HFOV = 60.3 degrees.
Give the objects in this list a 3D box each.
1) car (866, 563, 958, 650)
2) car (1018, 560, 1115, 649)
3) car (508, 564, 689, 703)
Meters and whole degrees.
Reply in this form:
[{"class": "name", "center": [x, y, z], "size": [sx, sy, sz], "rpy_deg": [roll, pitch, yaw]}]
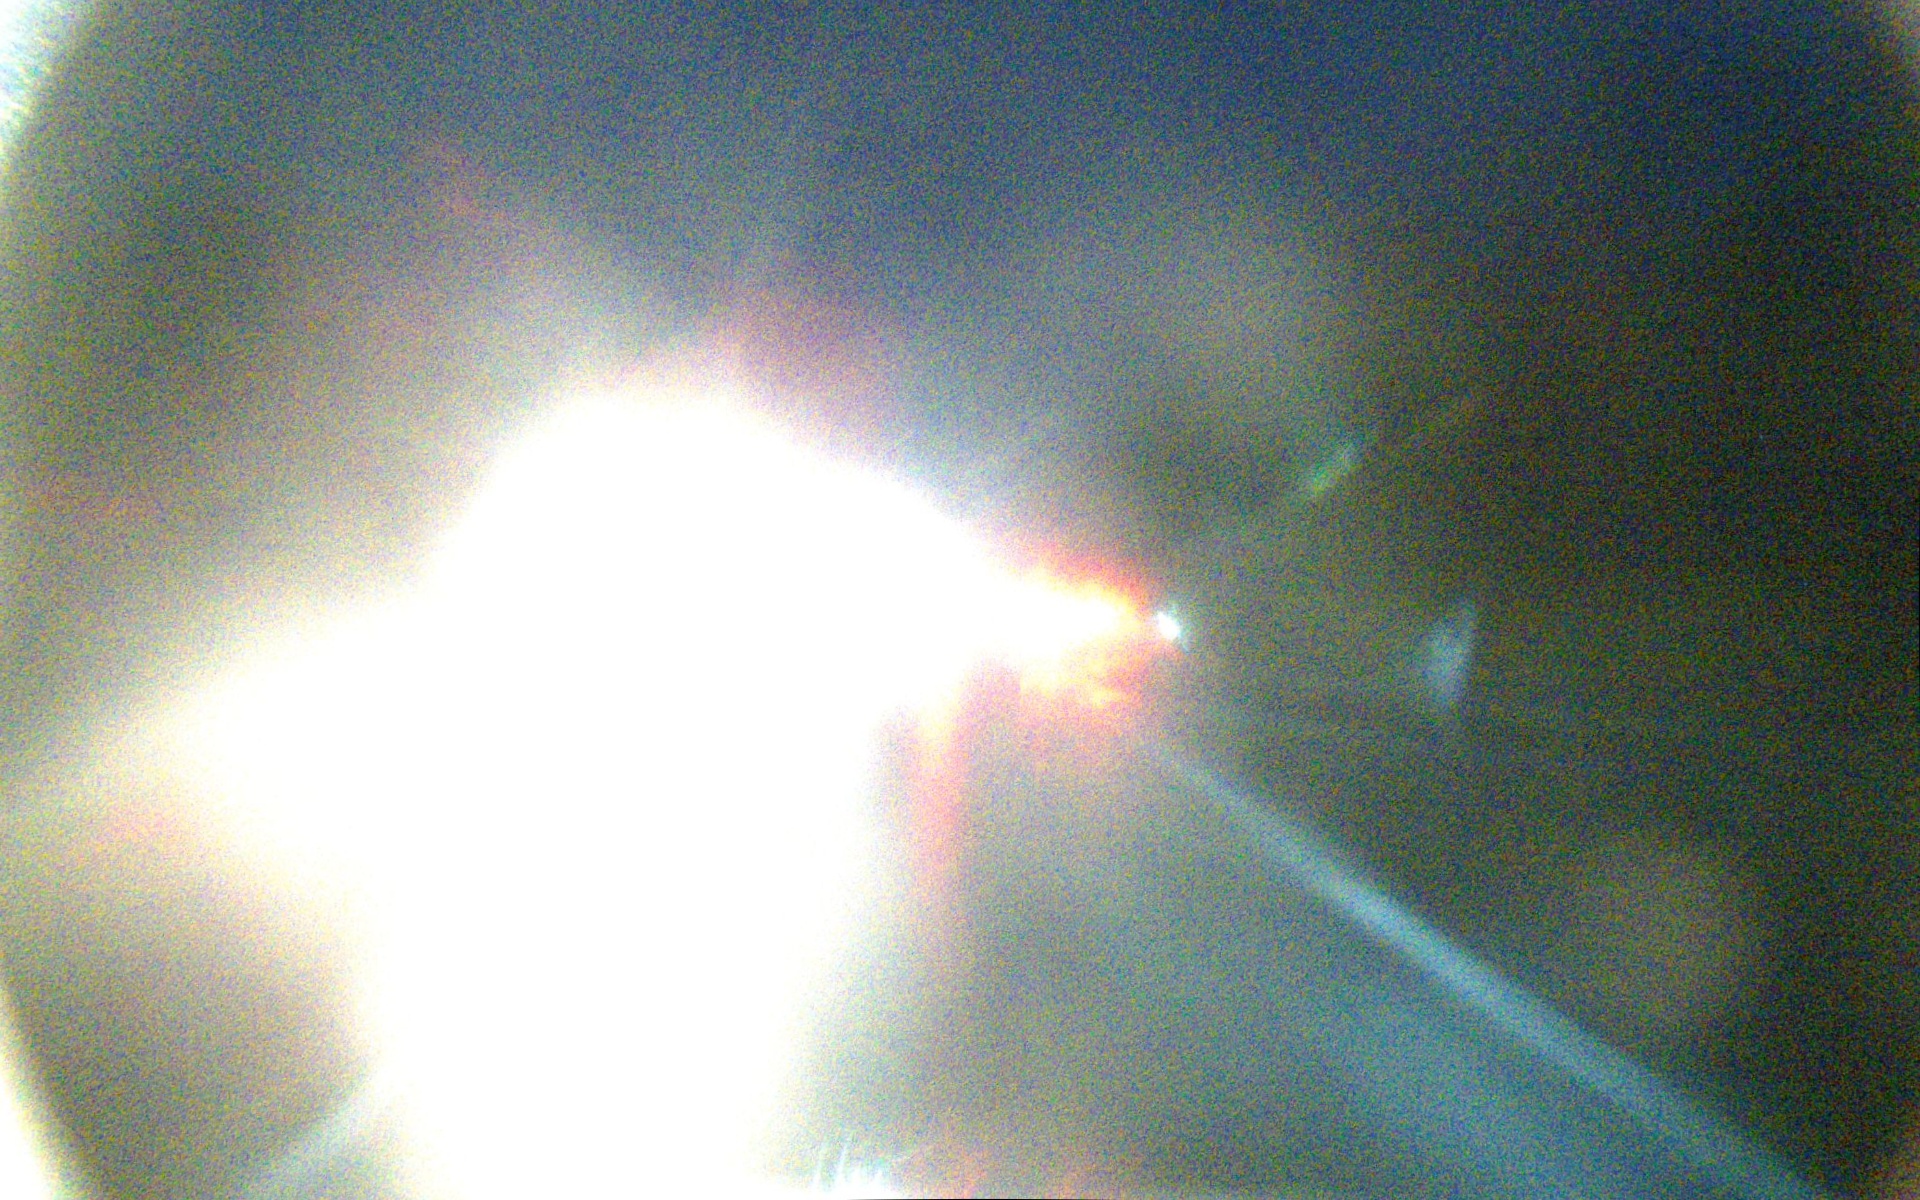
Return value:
[{"class": "car", "center": [-1.031, 0.109, 34.222], "size": [1.773, 1.650, 3.998], "rpy_deg": [1, 0, -3]}, {"class": "car", "center": [2.561, 0.091, 40.813], "size": [2.051, 2.049, 4.000], "rpy_deg": [2, 0, -1]}, {"class": "car", "center": [-4.360, 0.361, 20.456], "size": [1.957, 1.524, 3.766], "rpy_deg": [1, 0, -9]}]
